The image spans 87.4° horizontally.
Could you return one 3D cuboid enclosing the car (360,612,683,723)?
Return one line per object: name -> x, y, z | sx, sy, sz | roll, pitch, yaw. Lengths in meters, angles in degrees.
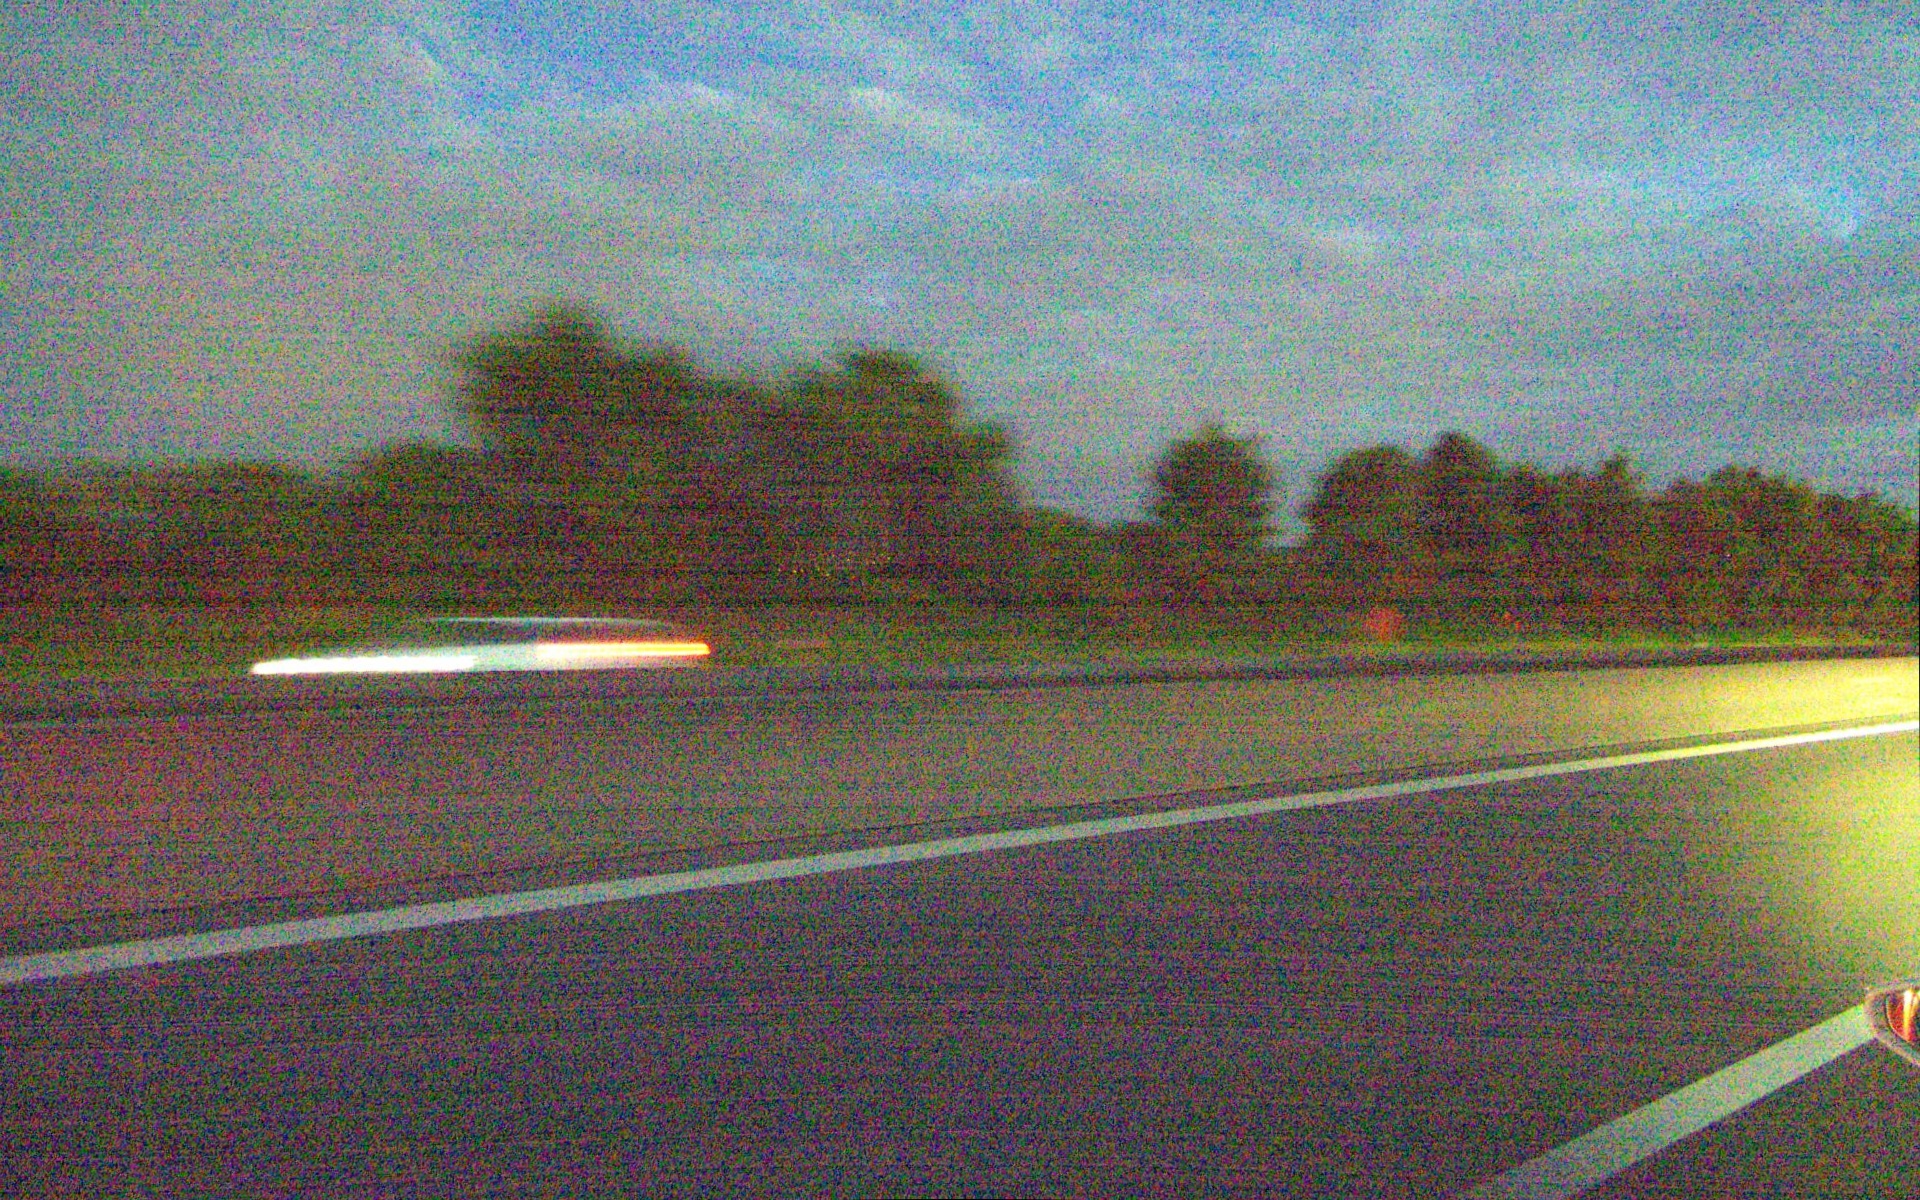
car -> -7.659, 1.148, 17.776 | 4.987, 1.656, 1.894 | 2, 1, -30
